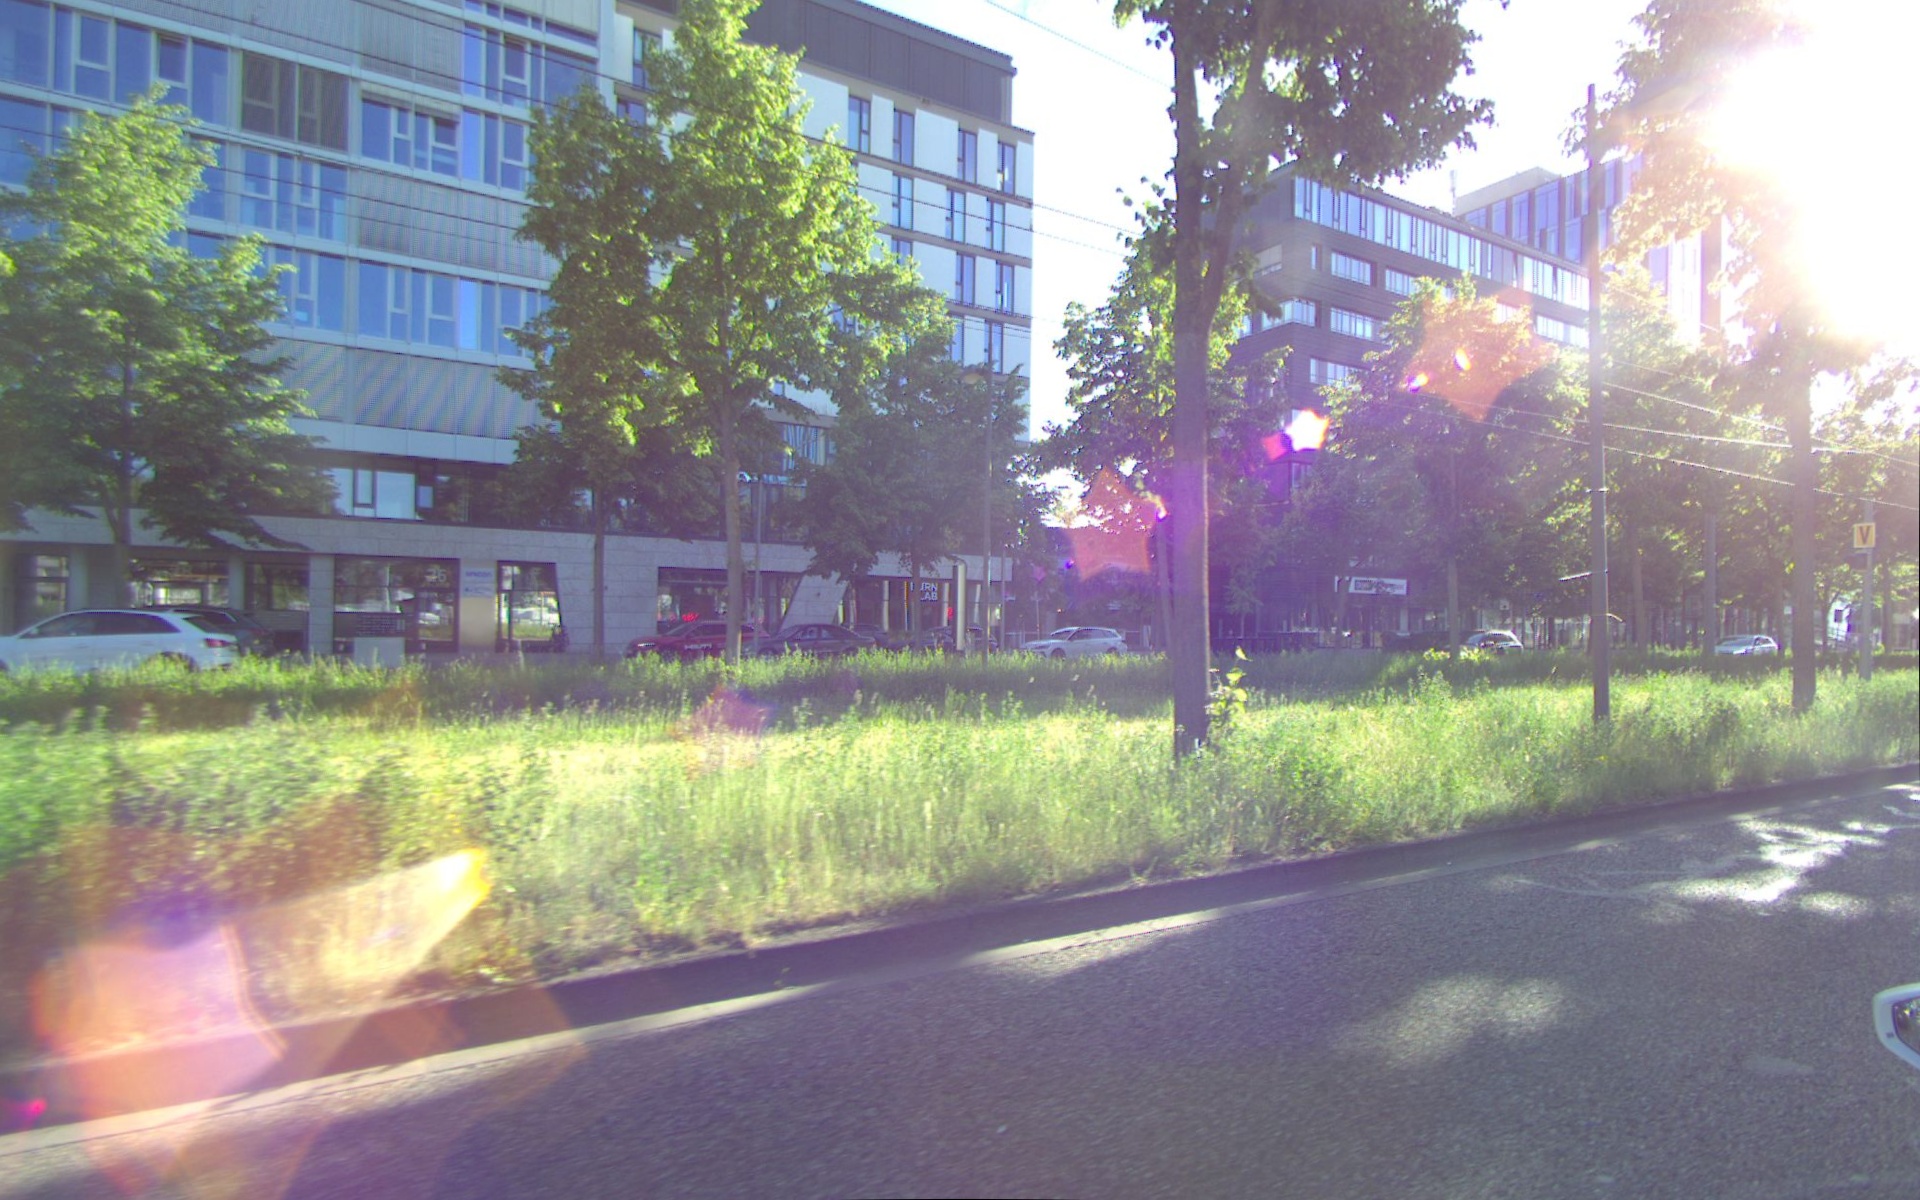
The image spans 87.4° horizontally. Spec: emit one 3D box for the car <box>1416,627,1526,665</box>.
[{"bbox_3d":[18.685,1.667,36.697,3.954,1.280,1.789,1,-1,-31],"label":"car"}]

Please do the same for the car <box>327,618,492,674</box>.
[{"bbox_3d":[-14.531,1.197,26.607,3.710,1.372,1.724,1,-1,-31],"label":"car"}]

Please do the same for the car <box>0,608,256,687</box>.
[{"bbox_3d":[-15.436,0.818,18.184,4.261,1.309,1.789,0,-1,-31],"label":"car"}]

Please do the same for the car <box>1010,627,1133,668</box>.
[{"bbox_3d":[4.245,1.769,37.882,4.492,1.439,1.707,1,-1,-30],"label":"car"}]

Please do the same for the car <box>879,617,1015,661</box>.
[{"bbox_3d":[-0.430,1.347,34.965,4.489,1.439,1.708,1,-1,-29],"label":"car"}]

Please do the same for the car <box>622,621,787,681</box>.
[{"bbox_3d":[-8.523,1.648,33.694,5.071,1.801,1.788,1,1,-32],"label":"car"}]

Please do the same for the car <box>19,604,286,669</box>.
[{"bbox_3d":[-19.084,0.864,24.068,4.750,1.438,1.659,1,-1,-31],"label":"car"}]

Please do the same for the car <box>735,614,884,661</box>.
[{"bbox_3d":[-4.869,1.203,32.666,4.492,1.439,1.707,1,-1,-30],"label":"car"}]

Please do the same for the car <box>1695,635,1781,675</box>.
[{"bbox_3d":[37.096,2.570,47.876,4.271,1.711,1.788,1,1,-31],"label":"car"}]
